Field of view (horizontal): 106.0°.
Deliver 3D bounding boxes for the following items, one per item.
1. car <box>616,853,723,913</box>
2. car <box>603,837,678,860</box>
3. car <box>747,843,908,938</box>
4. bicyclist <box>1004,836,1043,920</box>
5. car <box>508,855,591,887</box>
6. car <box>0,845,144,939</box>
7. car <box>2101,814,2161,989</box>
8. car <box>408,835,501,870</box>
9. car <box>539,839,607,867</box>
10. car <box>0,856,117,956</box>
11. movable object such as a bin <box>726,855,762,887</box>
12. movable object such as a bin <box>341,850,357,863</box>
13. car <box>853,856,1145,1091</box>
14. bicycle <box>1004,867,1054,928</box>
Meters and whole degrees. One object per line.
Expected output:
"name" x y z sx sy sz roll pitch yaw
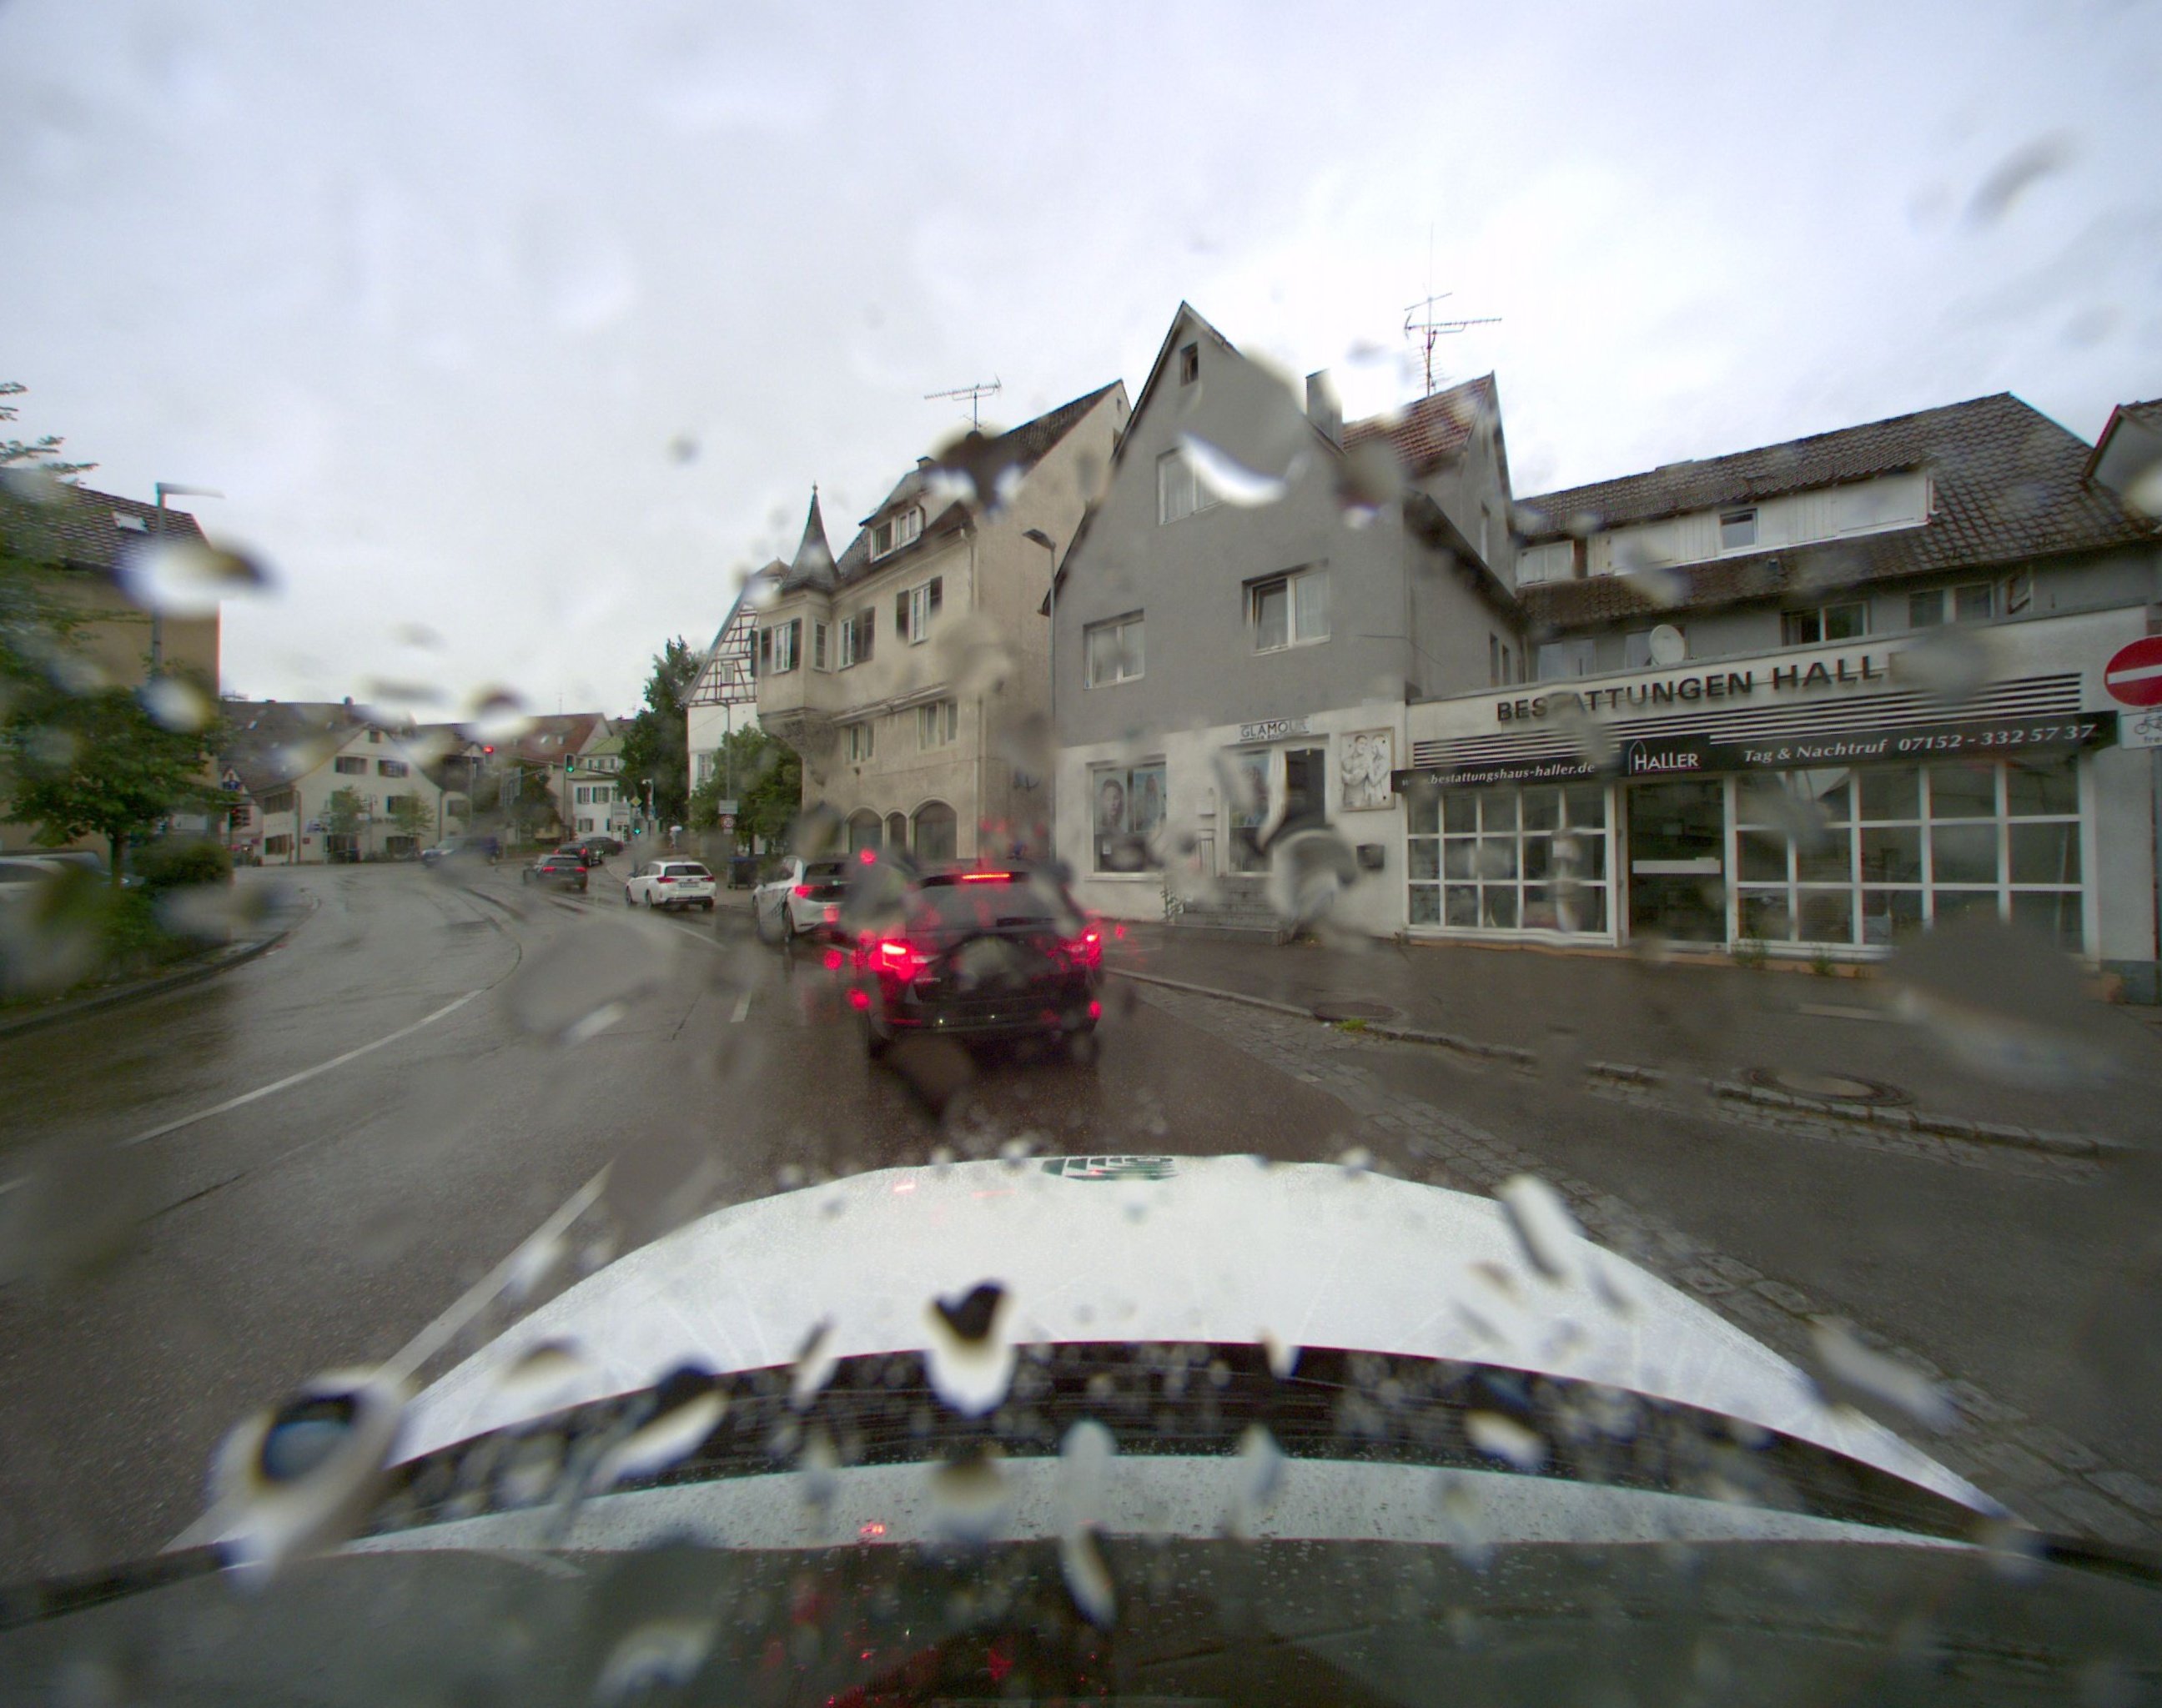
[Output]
"car" -12.468 0.804 24.536 1.901 1.596 4.275 0 0 -41
"car" -32.725 -0.381 60.665 1.974 1.591 4.507 0 -1 31
"car" -4.844 0.560 15.188 1.869 1.472 3.960 -2 2 -32
"bicyclist" -1.093 0.430 15.380 0.683 1.517 1.028 0 0 -8
"car" -22.624 0.721 34.632 3.949 1.302 2.012 -1 -1 42
"car" -24.662 0.949 17.863 1.938 1.824 4.967 2 7 30
"car" 12.524 0.485 8.430 1.975 1.771 4.023 1 1 45
"car" -36.081 -0.085 47.061 1.987 1.881 4.377 1 0 0
"car" -29.189 -0.075 46.911 1.576 1.524 3.435 1 0 3
"car" -18.835 0.861 13.215 1.976 1.629 3.665 0 0 22
"movable object such as a bin" -14.165 0.702 34.230 1.163 1.313 1.173 0 0 -35
"movable object such as a bin" -51.102 0.157 56.854 0.578 0.901 0.591 1 1 18
"car" -1.077 0.771 7.528 1.891 1.448 4.332 1 0 -17
"bicycle" -1.018 0.797 15.566 0.761 1.035 2.075 2 -1 -8
